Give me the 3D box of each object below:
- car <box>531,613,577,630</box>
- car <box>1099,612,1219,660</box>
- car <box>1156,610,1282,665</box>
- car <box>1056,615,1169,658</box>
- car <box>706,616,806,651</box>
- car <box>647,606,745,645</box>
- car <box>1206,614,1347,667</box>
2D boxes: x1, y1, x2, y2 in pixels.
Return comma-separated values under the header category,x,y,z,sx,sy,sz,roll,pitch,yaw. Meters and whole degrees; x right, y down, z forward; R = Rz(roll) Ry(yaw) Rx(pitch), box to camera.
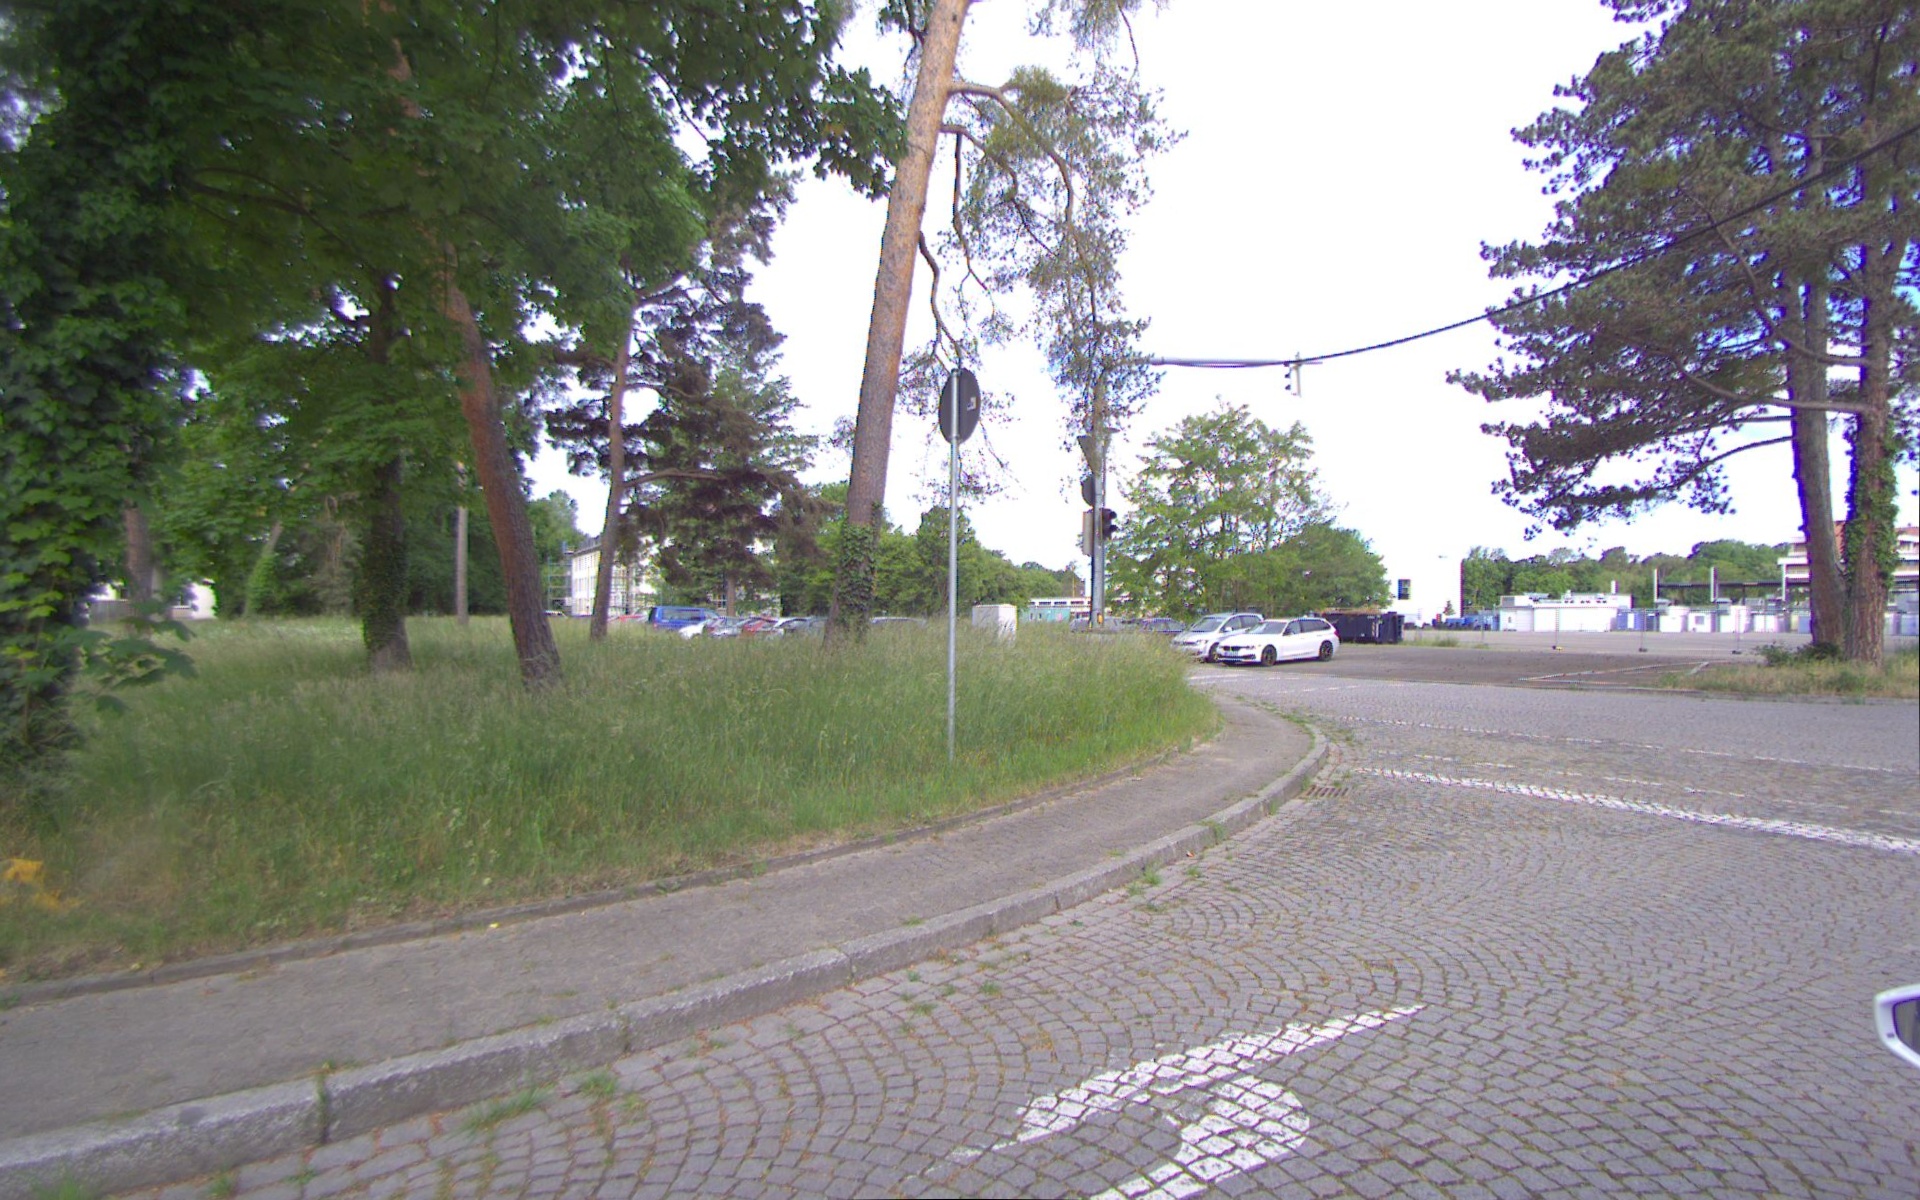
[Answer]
category,x,y,z,sx,sy,sz,roll,pitch,yaw
car,-50.897,2.724,125.992,5.104,2.040,1.983,1,-1,-31
car,7.342,1.273,36.884,4.280,1.522,1.843,-2,1,-34
car,8.976,1.243,34.659,4.280,1.605,1.810,-2,1,-34
car,5.976,1.377,39.181,4.281,1.587,1.782,1,-1,-34
car,-8.897,1.440,43.877,3.952,1.457,1.678,1,-1,-30
car,-14.043,1.323,53.528,4.737,2.007,1.982,0,0,-30
car,10.286,1.266,32.544,4.689,1.461,1.799,-2,0,-33
